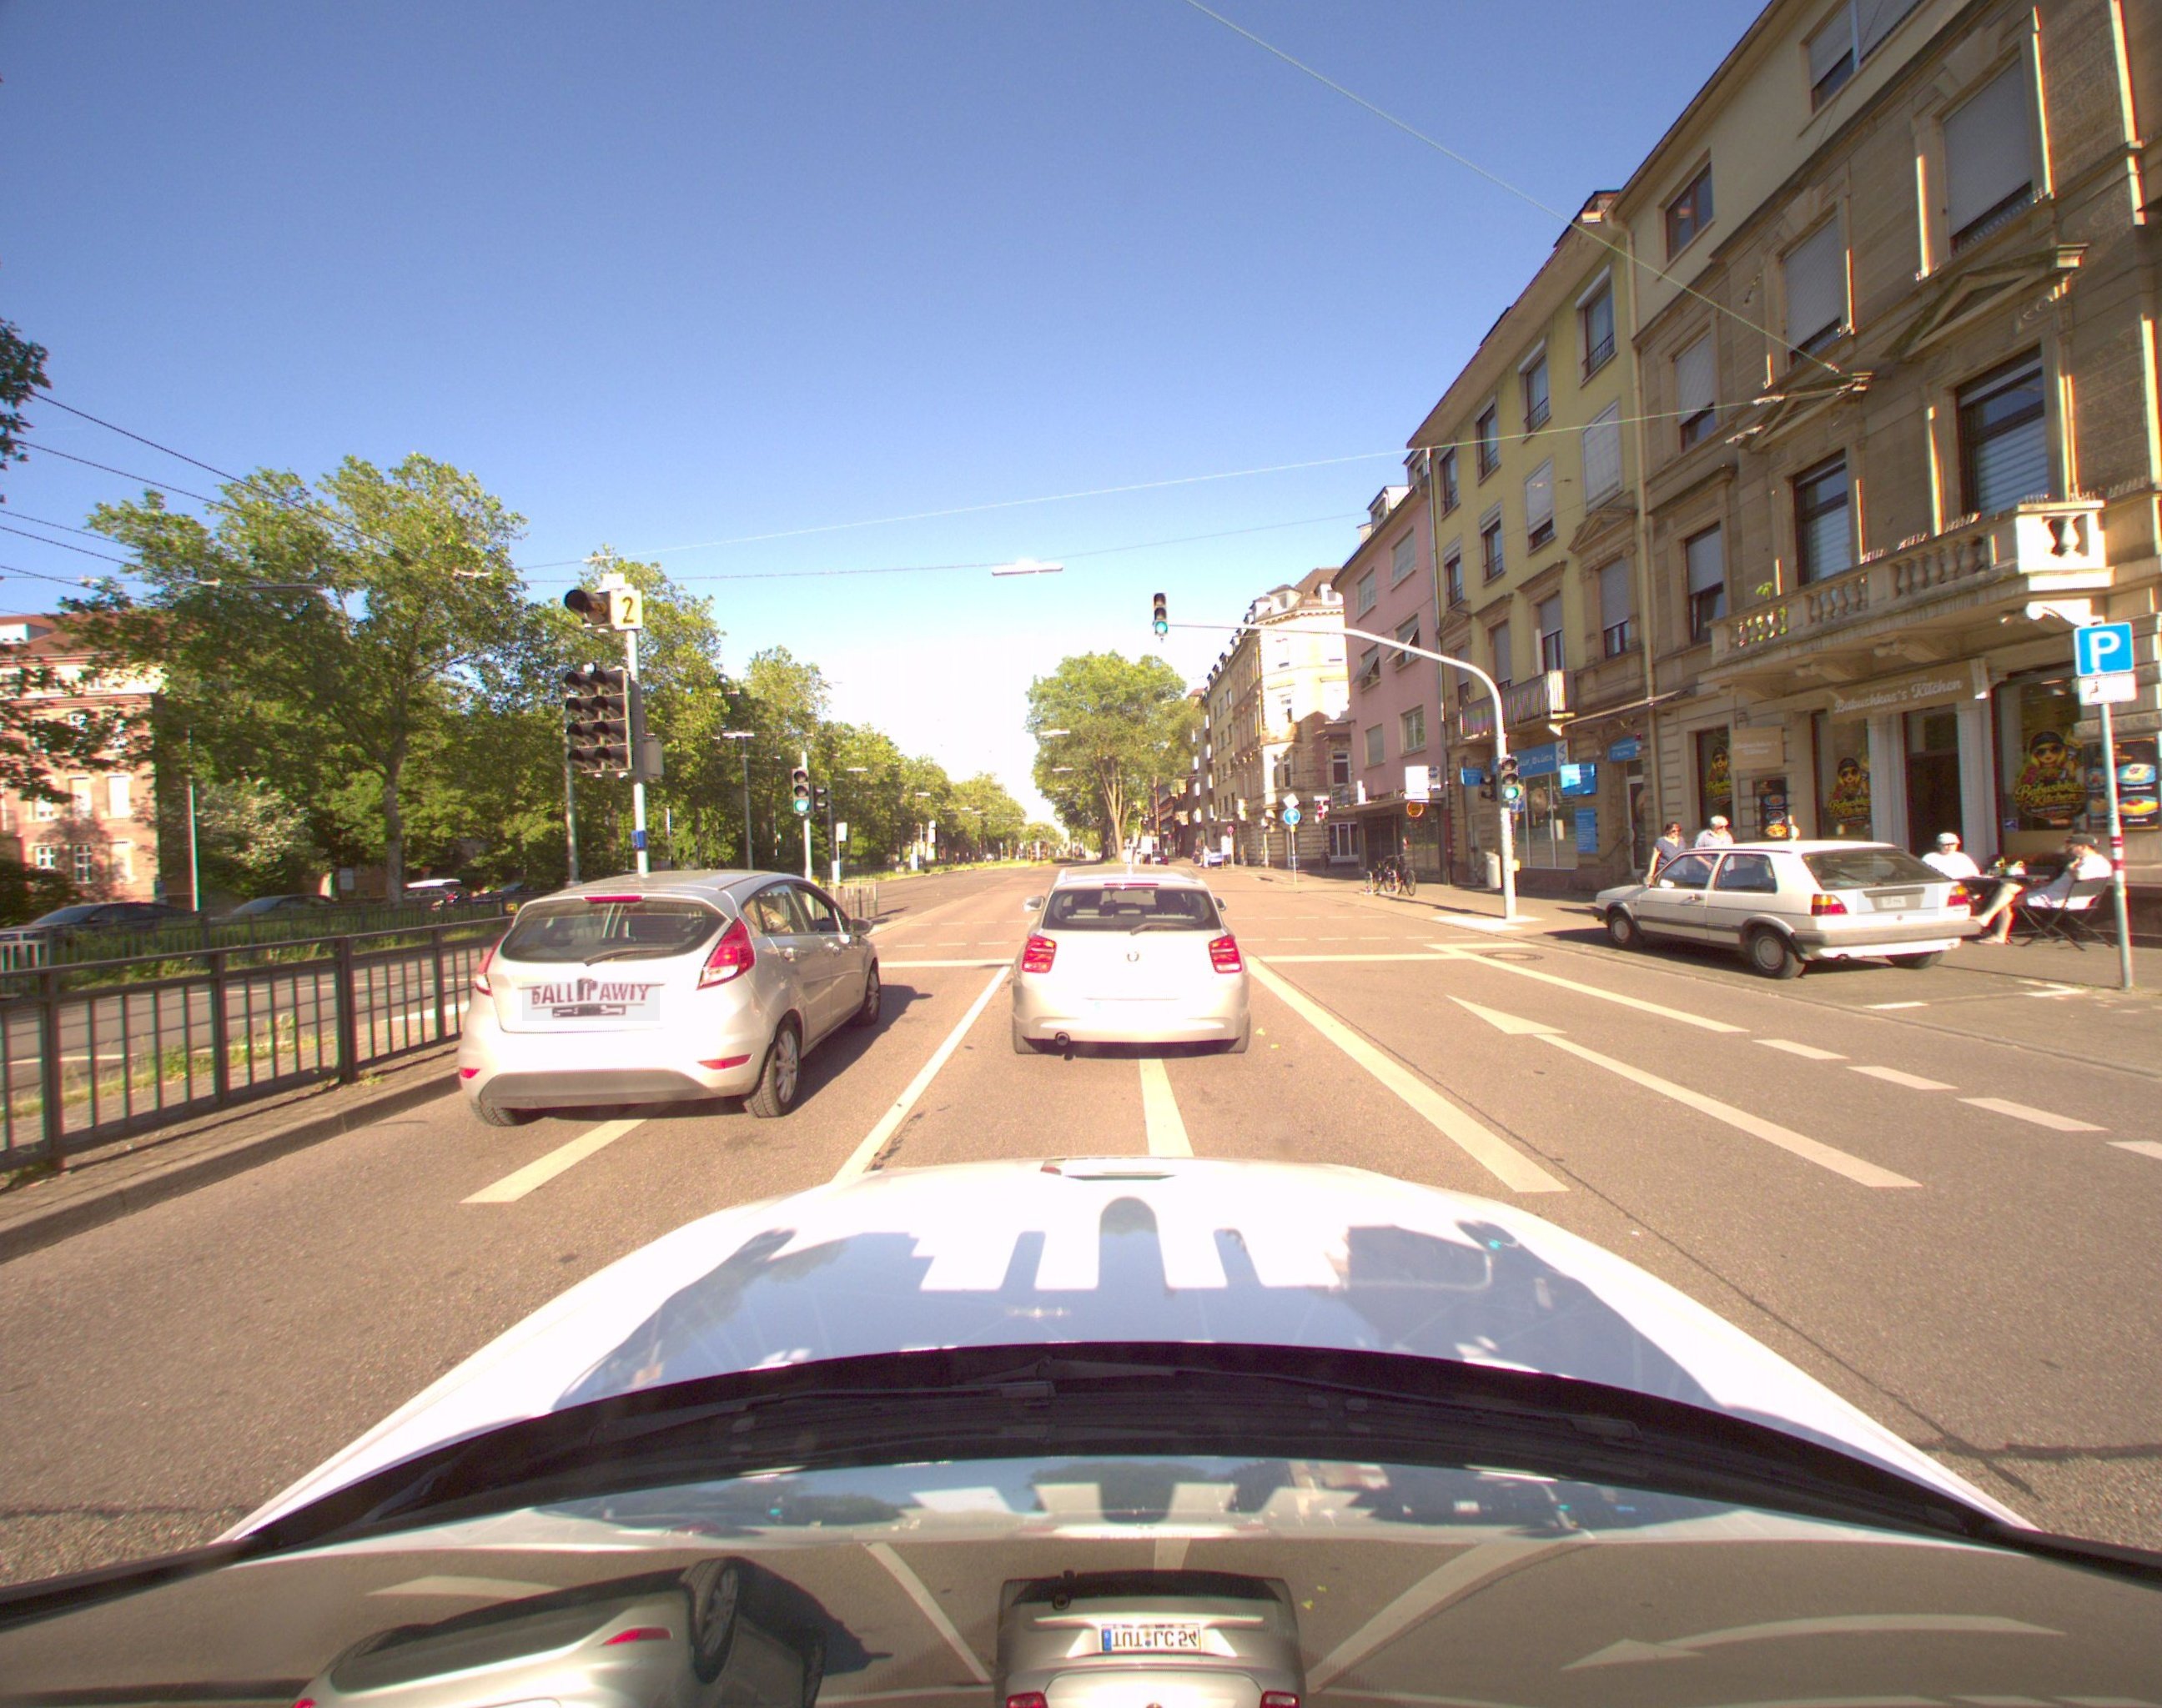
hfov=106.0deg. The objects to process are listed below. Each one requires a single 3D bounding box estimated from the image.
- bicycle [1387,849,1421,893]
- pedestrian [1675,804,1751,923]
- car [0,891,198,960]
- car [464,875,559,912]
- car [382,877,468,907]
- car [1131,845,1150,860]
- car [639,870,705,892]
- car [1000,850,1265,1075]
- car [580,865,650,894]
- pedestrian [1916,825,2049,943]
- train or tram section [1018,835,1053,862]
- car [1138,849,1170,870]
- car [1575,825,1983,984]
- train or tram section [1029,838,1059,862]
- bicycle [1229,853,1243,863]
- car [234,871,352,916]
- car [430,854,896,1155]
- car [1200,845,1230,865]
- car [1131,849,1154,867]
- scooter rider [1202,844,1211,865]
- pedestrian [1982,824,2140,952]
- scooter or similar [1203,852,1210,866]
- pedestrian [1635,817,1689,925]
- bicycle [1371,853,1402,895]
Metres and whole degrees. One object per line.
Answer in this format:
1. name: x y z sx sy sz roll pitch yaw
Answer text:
1. bicycle: 9.142 0.466 23.098 0.446 1.159 1.762 -2 0 8
2. pedestrian: 10.109 0.148 13.043 0.670 1.806 0.531 -4 0 1
3. car: -27.851 1.933 22.786 1.664 1.509 4.145 -2 0 0
4. car: -27.650 1.866 39.713 1.664 1.509 4.145 -2 0 0
5. car: -38.059 2.198 47.297 3.968 1.494 1.396 -2 0 5
6. car: 5.954 -0.161 81.916 1.719 1.507 3.555 -1 0 0
7. car: -27.496 1.782 54.907 1.929 1.349 4.849 -2 -1 0
8. car: 0.399 0.713 7.389 1.733 1.467 4.002 -1 0 2
9. car: -27.745 1.505 48.639 1.664 1.509 4.145 -2 0 0
10. pedestrian: 10.692 0.340 9.678 0.795 1.281 0.608 -6 0 -1
11. train or tram section: -7.106 -0.846 130.105 3.954 3.865 17.496 -2 0 2
12. car: 5.133 0.360 57.838 1.732 1.433 3.673 -1 0 -4
13. car: 8.045 0.481 9.975 1.557 1.415 4.005 -6 0 2
14. train or tram section: -6.505 -0.726 147.572 3.990 3.865 17.496 -2 0 2
15. bicycle: 12.158 0.285 64.000 0.752 0.770 1.945 -2 0 0
16. car: -40.390 1.979 41.897 1.986 2.013 4.002 -2 0 2
17. car: -2.596 0.771 6.168 1.605 1.467 3.886 -2 0 -3
18. car: 10.451 0.069 63.695 1.729 1.519 3.637 -1 0 1
19. car: 5.228 0.321 69.390 1.719 1.507 3.555 -1 0 0
20. scooter rider: 9.108 0.001 59.260 0.464 1.505 0.811 -2 0 0
21. pedestrian: 10.807 0.356 9.004 0.899 1.281 0.655 -5 0 -4
22. scooter or similar: 9.146 0.340 59.336 0.336 0.988 1.285 -2 0 2
23. pedestrian: 9.456 0.276 13.268 0.547 1.708 0.389 -3 0 4
24. bicycle: 8.646 0.545 23.114 0.411 1.140 1.814 -2 0 8
